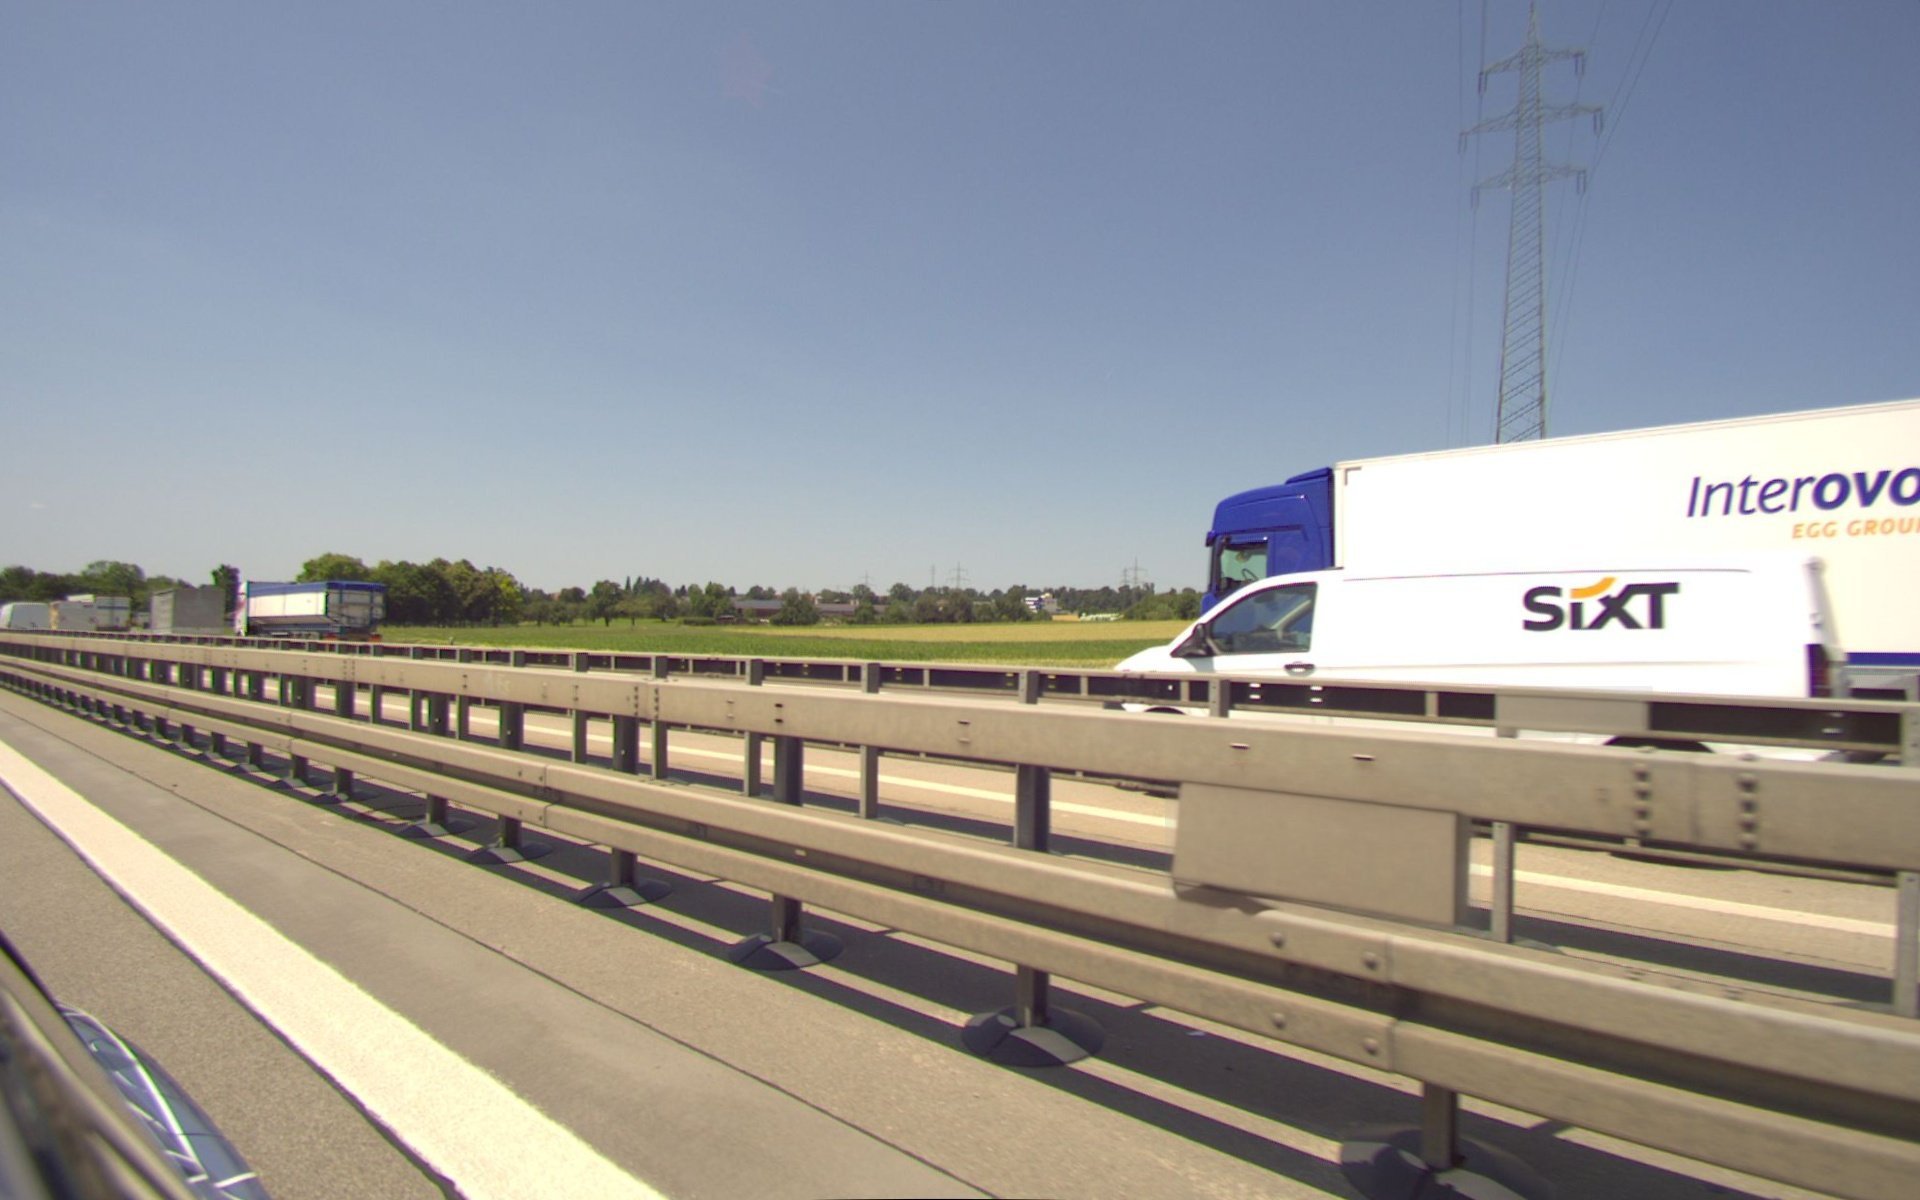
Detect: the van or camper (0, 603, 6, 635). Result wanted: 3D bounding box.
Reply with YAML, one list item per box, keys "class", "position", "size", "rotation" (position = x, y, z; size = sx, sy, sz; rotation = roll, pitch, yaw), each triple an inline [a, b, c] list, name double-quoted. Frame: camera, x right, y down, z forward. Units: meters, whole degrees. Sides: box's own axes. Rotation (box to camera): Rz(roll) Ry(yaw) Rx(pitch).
- class: "van or camper"
  position: [-86.794, 1.717, 90.010]
  size: [7.292, 2.755, 2.135]
  rotation: [-1, 0, 42]

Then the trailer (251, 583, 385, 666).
- class: "trailer"
  position: [-31.972, 1.139, 50.098]
  size: [11.357, 3.720, 2.678]
  rotation: [-1, 0, 42]

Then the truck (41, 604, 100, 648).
- class: "truck"
  position: [-64.955, 1.903, 73.881]
  size: [7.425, 3.033, 2.225]
  rotation: [-1, -3, 42]

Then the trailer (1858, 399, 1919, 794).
- class: "trailer"
  position: [14.902, -0.105, 7.916]
  size: [11.660, 4.077, 2.803]
  rotation: [-1, 0, 41]

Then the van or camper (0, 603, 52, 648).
- class: "van or camper"
  position: [-57.214, 1.500, 61.696]
  size: [6.119, 2.594, 2.101]
  rotation: [-1, 0, 41]

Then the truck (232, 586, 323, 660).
- class: "truck"
  position: [-36.720, 1.196, 54.385]
  size: [6.055, 3.718, 2.689]
  rotation: [-1, 0, 42]

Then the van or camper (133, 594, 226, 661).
- class: "van or camper"
  position: [-39.998, 1.423, 51.771]
  size: [7.398, 3.189, 2.315]
  rotation: [-1, -3, 41]

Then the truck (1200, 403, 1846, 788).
- class: "truck"
  position: [7.508, -0.019, 14.367]
  size: [7.527, 4.120, 2.792]
  rotation: [-1, 0, 41]

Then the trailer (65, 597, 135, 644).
- class: "trailer"
  position: [-76.533, 1.764, 89.952]
  size: [12.888, 3.947, 2.927]
  rotation: [-1, 0, 41]

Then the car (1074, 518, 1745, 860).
- class: "car"
  position: [3.416, 0.615, 8.293]
  size: [4.647, 2.025, 1.963]
  rotation: [-1, -4, 41]
